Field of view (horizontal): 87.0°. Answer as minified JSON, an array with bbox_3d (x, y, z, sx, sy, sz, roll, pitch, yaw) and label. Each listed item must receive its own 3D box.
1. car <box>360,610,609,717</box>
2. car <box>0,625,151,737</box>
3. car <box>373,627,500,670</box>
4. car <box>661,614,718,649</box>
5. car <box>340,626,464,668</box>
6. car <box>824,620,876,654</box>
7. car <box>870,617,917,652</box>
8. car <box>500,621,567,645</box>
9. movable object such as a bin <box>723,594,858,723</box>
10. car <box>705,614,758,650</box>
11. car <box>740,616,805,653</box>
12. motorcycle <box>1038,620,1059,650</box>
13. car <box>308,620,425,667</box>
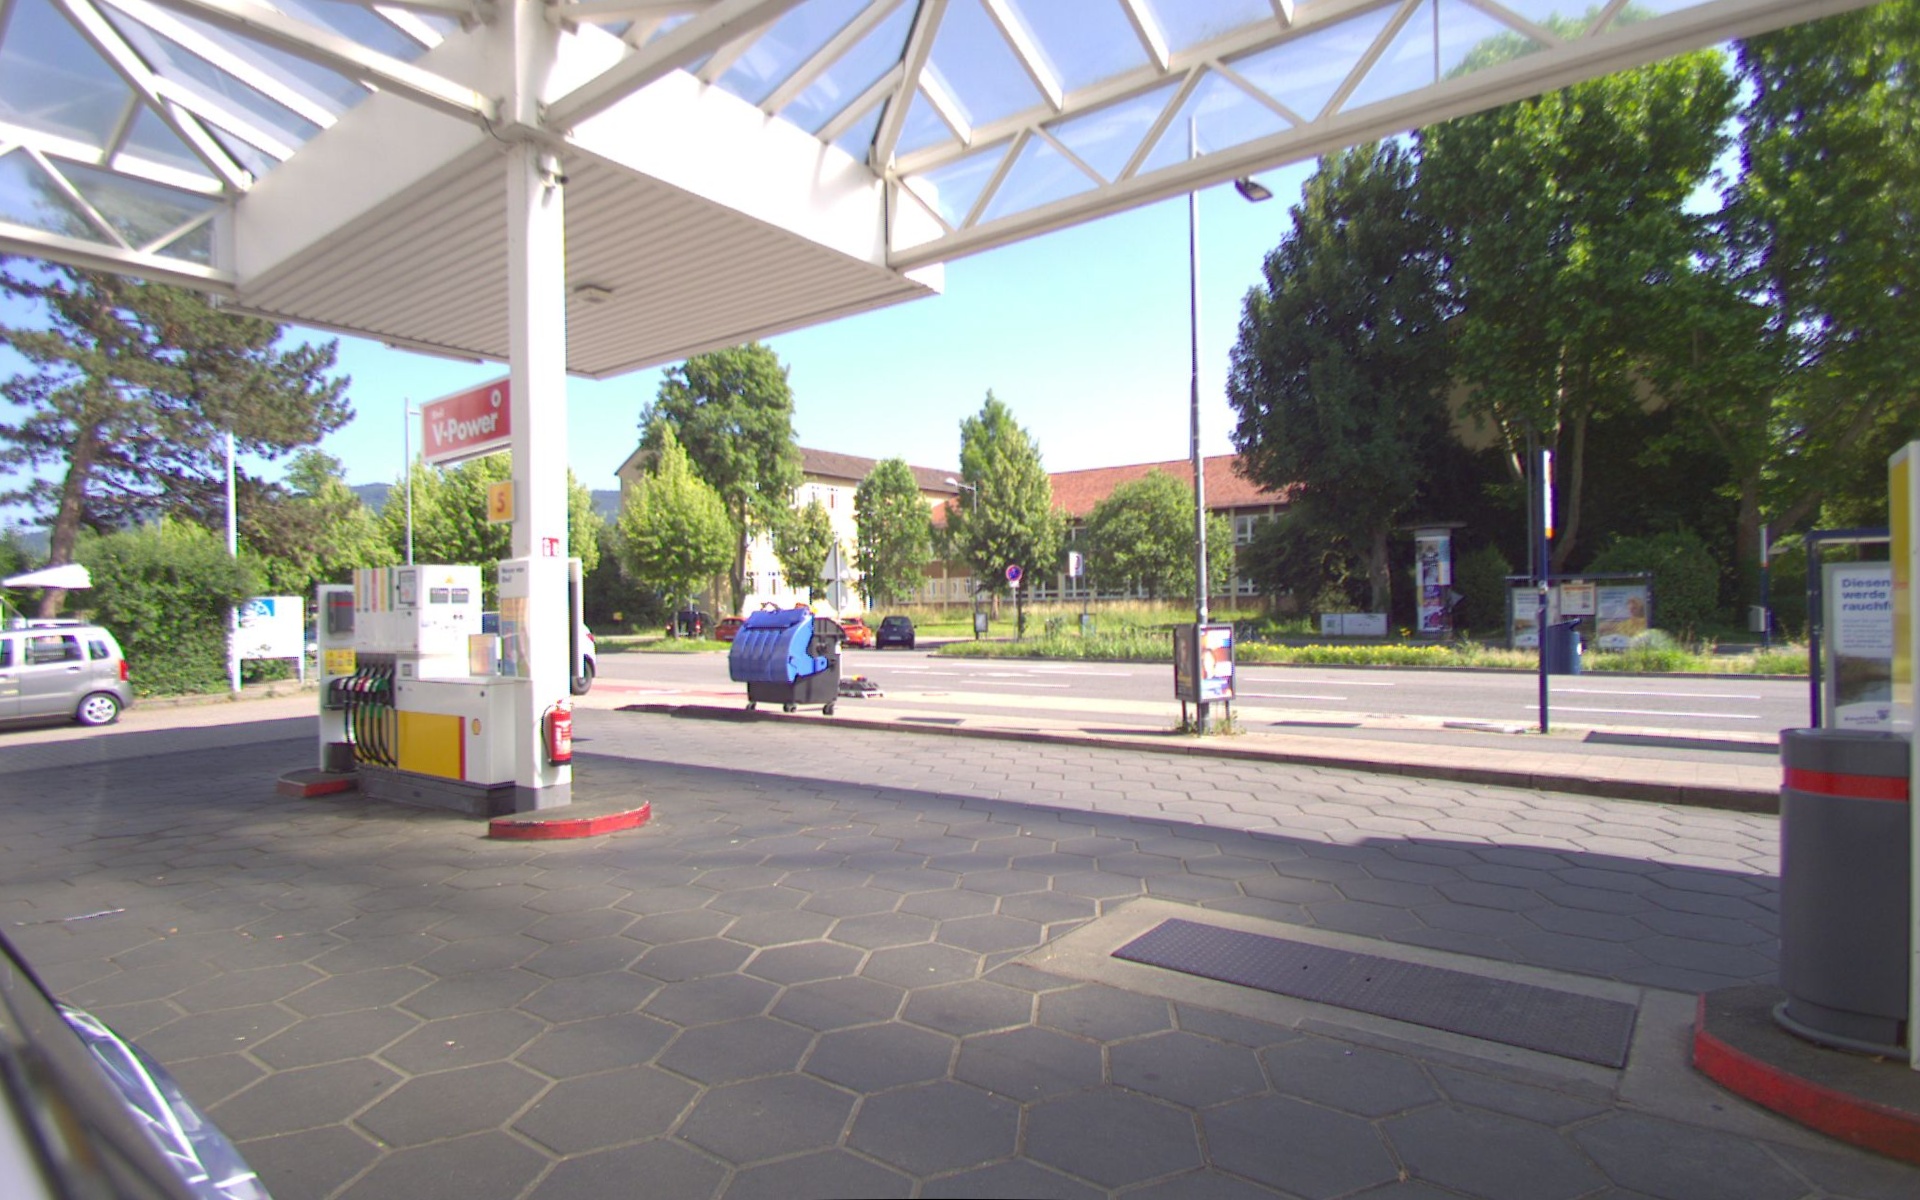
[{"bbox_3d":[-8.616,1.082,18.818,1.942,1.719,4.289,-2,-1,13],"label":"car"},{"bbox_3d":[-15.289,1.298,15.993,1.690,1.629,3.615,-2,0,39],"label":"car"},{"bbox_3d":[-18.670,1.714,36.355,1.861,1.428,4.211,0,-2,11],"label":"car"},{"bbox_3d":[-13.702,1.607,51.553,1.854,1.735,4.227,1,-2,-2],"label":"car"},{"bbox_3d":[-20.943,1.737,38.178,1.861,1.493,4.211,-1,-2,11],"label":"car"},{"bbox_3d":[-5.035,1.704,46.722,1.856,1.471,4.223,0,-2,1],"label":"car"},{"bbox_3d":[-2.901,1.542,44.809,1.718,1.471,4.223,0,-2,1],"label":"car"},{"bbox_3d":[-26.419,2.049,62.837,1.867,1.401,3.703,0,-2,19],"label":"car"},{"bbox_3d":[-2.390,0.814,14.336,1.336,1.701,1.325,-1,-3,39],"label":"movable object such as a bin"},{"bbox_3d":[-11.538,1.618,51.316,1.854,1.735,4.227,1,-2,-2],"label":"car"},{"bbox_3d":[-9.127,1.685,49.614,1.860,1.735,4.215,0,-2,8],"label":"car"},{"bbox_3d":[3.490,1.373,39.702,0.552,1.122,1.751,-1,-1,14],"label":"motorcycle"},{"bbox_3d":[-22.974,1.651,39.391,1.683,1.733,4.396,0,-1,5],"label":"car"}]
